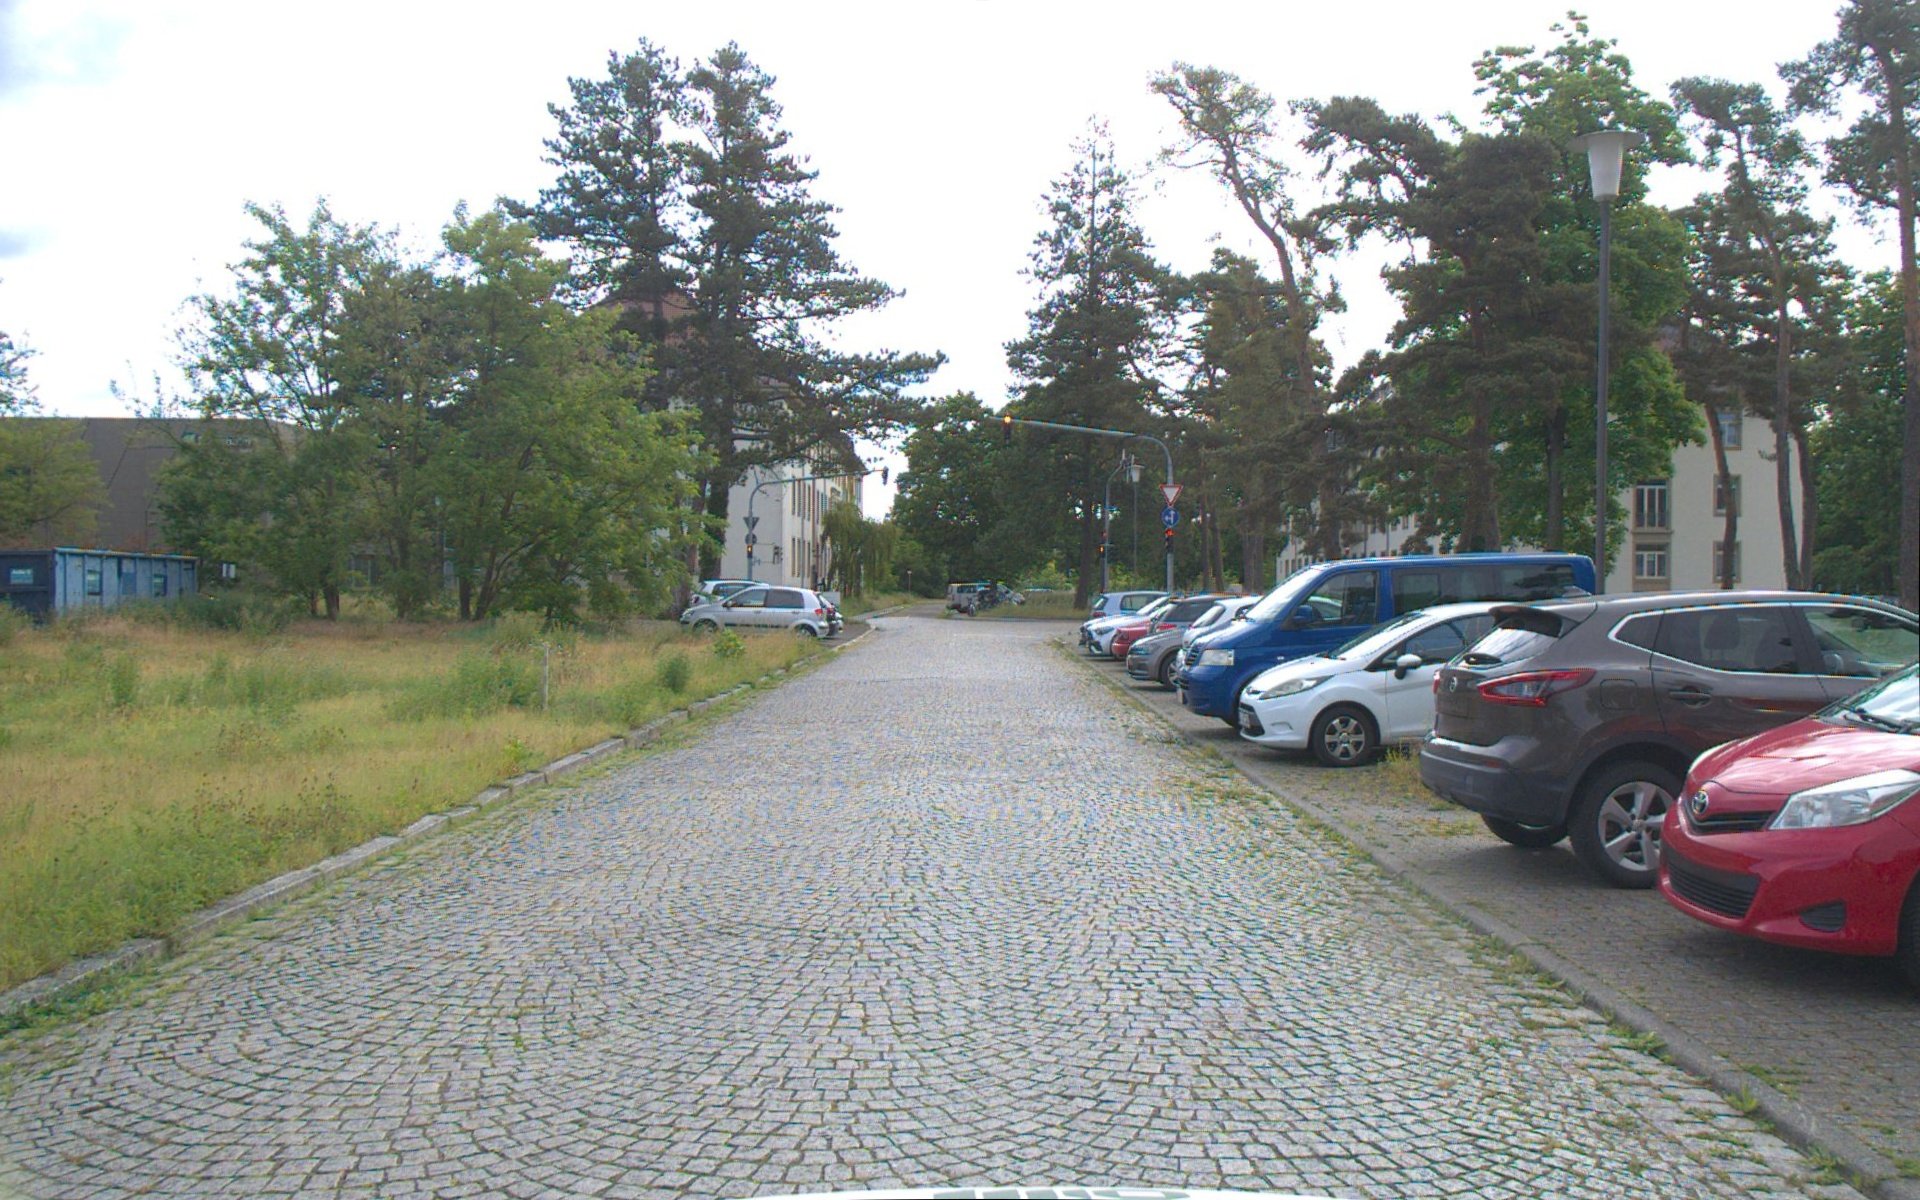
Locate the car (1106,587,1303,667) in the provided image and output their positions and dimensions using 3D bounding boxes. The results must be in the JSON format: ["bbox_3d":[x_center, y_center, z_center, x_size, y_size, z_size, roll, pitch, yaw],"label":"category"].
[{"bbox_3d":[4.755,0.512,32.481,3.598,1.475,1.523,-1,0,-2],"label":"car"}]

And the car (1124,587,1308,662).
[{"bbox_3d":[5.339,0.507,34.765,3.598,1.475,1.523,-1,0,-2],"label":"car"}]

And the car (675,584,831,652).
[{"bbox_3d":[-5.146,0.432,41.458,3.745,1.600,1.563,-1,0,-3],"label":"car"}]

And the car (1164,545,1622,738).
[{"bbox_3d":[4.780,0.437,18.729,4.658,1.989,1.931,-1,0,-2],"label":"car"}]

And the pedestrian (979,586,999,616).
[{"bbox_3d":[1.604,0.078,91.798,1.013,1.642,0.757,1,0,-5],"label":"pedestrian"}]

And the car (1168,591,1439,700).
[{"bbox_3d":[4.929,0.636,24.007,3.598,1.475,1.523,-1,0,-2],"label":"car"}]

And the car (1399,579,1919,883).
[{"bbox_3d":[4.811,0.680,9.759,3.948,1.579,1.750,-1,0,-2],"label":"car"}]

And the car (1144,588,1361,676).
[{"bbox_3d":[5.217,0.553,29.775,3.598,1.475,1.523,-1,0,-2],"label":"car"}]

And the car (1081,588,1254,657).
[{"bbox_3d":[4.617,0.487,37.018,3.599,1.446,1.522,-1,0,-4],"label":"car"}]

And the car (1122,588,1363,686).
[{"bbox_3d":[4.522,0.583,26.787,3.598,1.475,1.523,-1,0,-2],"label":"car"}]

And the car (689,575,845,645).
[{"bbox_3d":[-5.431,0.273,46.863,4.175,1.873,1.743,-1,0,-1],"label":"car"}]

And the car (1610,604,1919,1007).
[{"bbox_3d":[5.000,0.758,7.113,3.714,1.485,1.751,-1,0,0],"label":"car"}]

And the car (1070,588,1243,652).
[{"bbox_3d":[4.710,0.476,39.874,3.890,1.446,1.618,-1,0,-4],"label":"car"}]

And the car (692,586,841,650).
[{"bbox_3d":[-5.098,0.457,43.875,3.743,1.600,1.564,-1,0,-1],"label":"car"}]

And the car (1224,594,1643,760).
[{"bbox_3d":[4.532,0.708,16.136,3.598,1.475,1.614,-1,0,-2],"label":"car"}]

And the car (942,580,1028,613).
[{"bbox_3d":[1.626,-0.239,109.365,5.345,2.049,2.264,1,0,-9],"label":"car"}]

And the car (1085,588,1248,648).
[{"bbox_3d":[5.277,0.445,42.524,3.890,1.446,1.618,-1,0,-4],"label":"car"}]

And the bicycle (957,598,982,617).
[{"bbox_3d":[0.505,0.390,87.387,0.612,0.961,1.648,1,0,-27],"label":"bicycle"}]

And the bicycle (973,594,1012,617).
[{"bbox_3d":[1.797,0.292,91.455,2.095,1.236,0.621,1,0,-4],"label":"bicycle"}]
